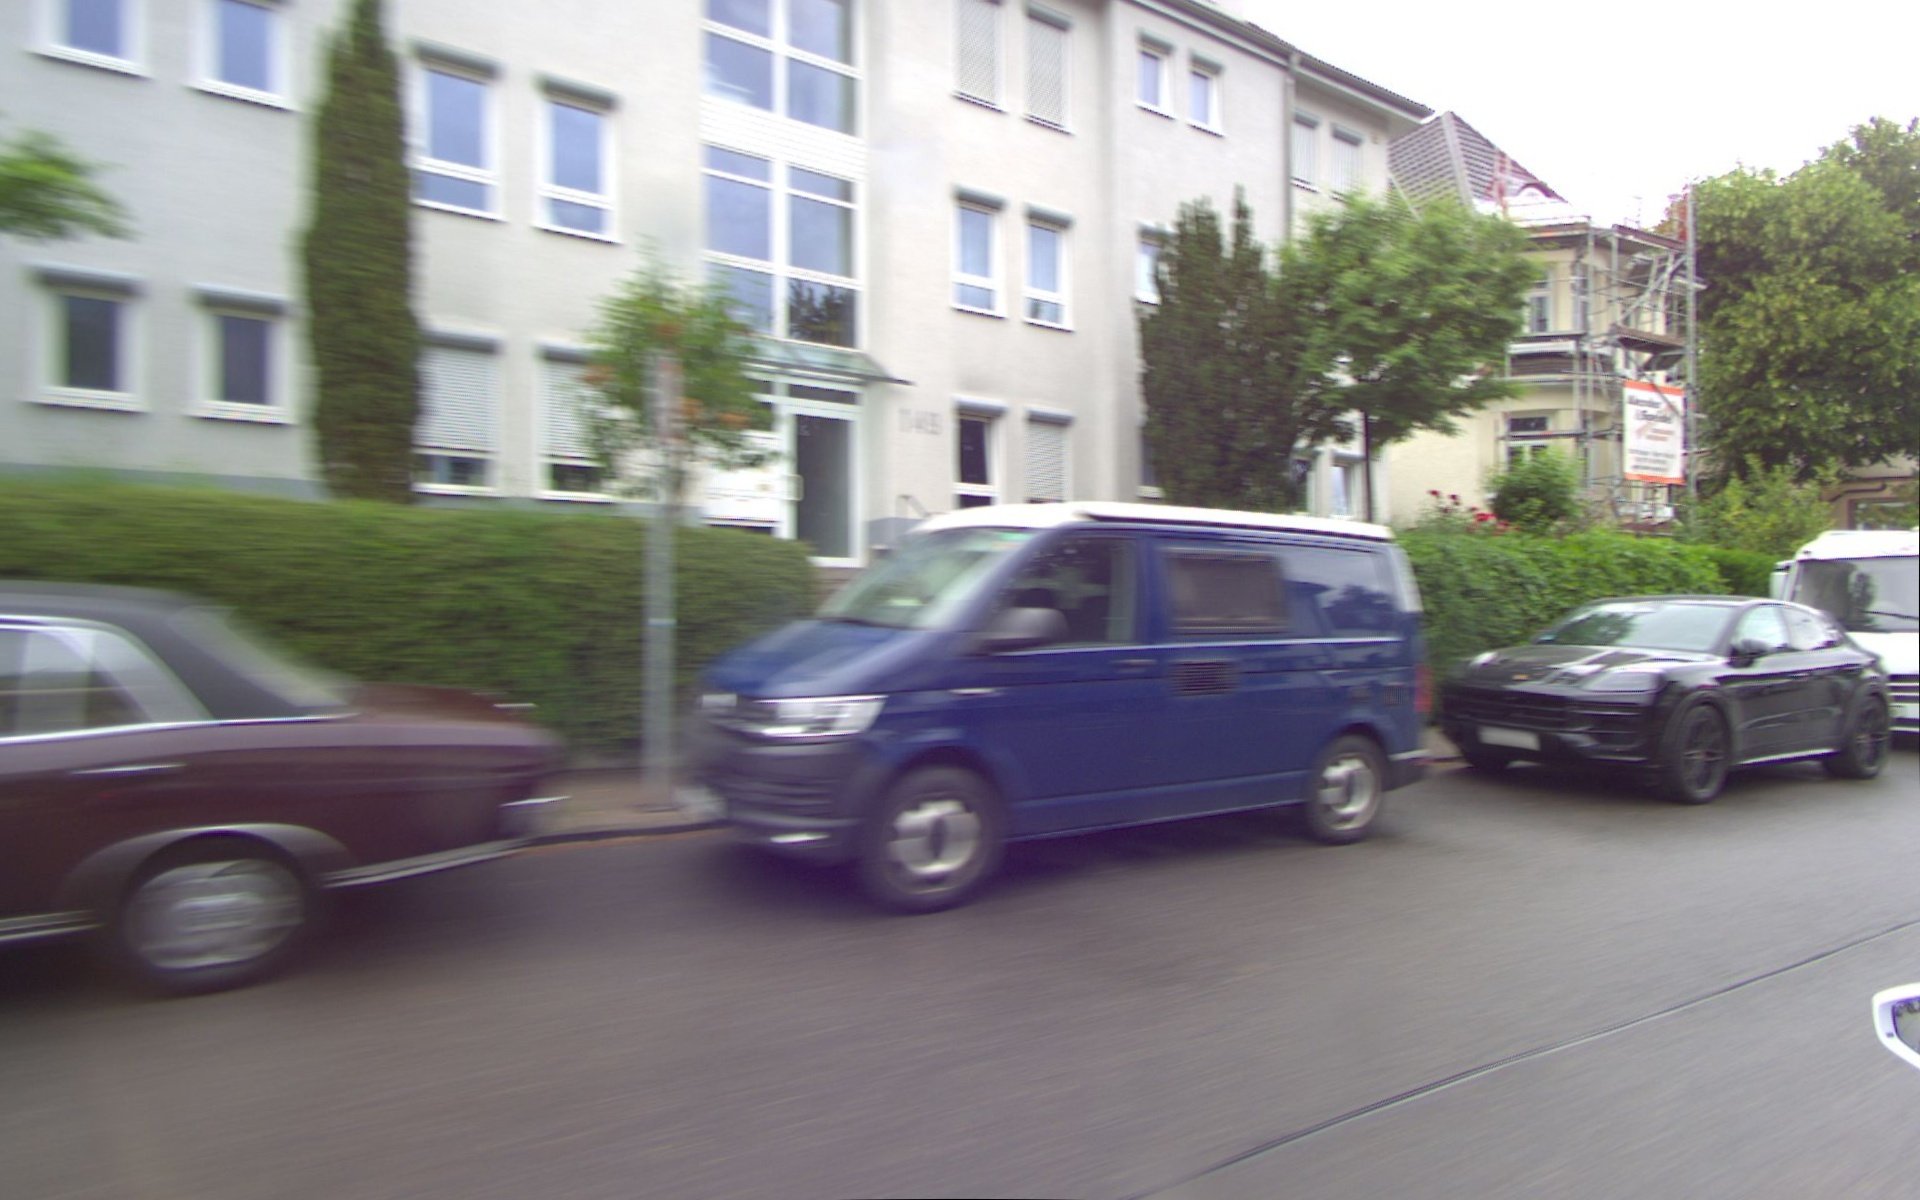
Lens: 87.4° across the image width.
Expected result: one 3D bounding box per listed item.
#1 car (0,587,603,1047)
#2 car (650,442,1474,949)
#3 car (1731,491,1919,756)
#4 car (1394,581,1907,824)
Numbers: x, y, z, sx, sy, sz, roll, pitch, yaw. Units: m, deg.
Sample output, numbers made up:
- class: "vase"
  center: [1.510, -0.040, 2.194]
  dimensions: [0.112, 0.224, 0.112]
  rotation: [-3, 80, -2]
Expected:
- class: "car"
  center: [-3.824, 0.670, 3.576]
  dimensions: [4.564, 1.436, 1.633]
  rotation: [1, 0, -34]
- class: "car"
  center: [0.836, 0.436, 6.202]
  dimensions: [4.953, 2.083, 1.820]
  rotation: [1, 0, -31]
- class: "car"
  center: [12.749, 0.209, 12.657]
  dimensions: [6.449, 2.809, 2.381]
  rotation: [-1, 1, -28]
- class: "car"
  center: [6.394, 0.710, 9.238]
  dimensions: [4.617, 1.711, 1.986]
  rotation: [-1, 2, -28]
